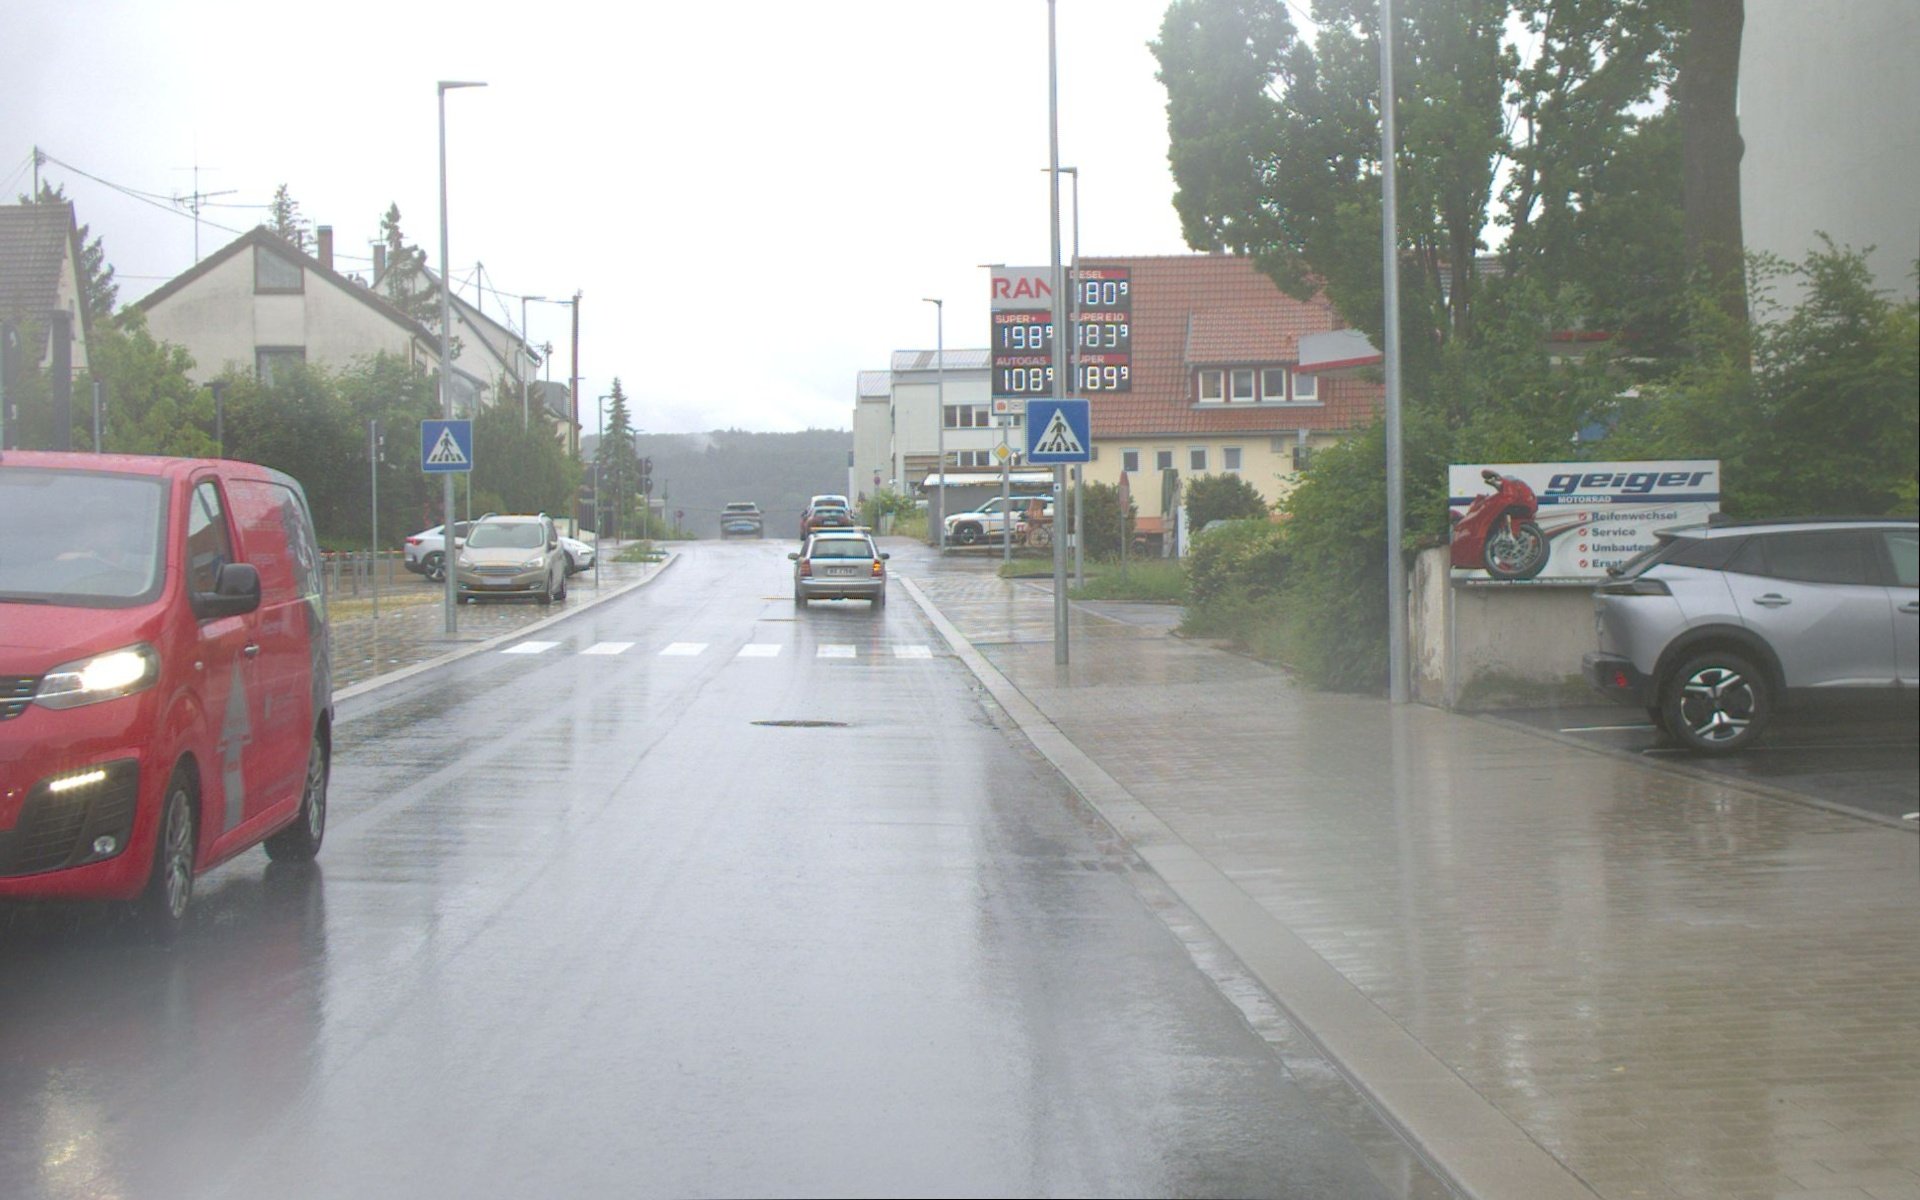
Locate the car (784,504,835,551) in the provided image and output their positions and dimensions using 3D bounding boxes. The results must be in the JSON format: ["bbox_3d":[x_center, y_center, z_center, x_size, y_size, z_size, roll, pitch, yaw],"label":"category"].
[{"bbox_3d":[-6.280,-3.016,143.666,1.993,1.700,4.000,3,-1,-2],"label":"car"}]

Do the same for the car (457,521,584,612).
[{"bbox_3d":[-8.253,-0.657,64.860,1.993,1.623,4.154,-1,2,-2],"label":"car"}]

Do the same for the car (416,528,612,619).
[{"bbox_3d":[-11.320,-0.653,87.533,4.752,2.007,2.000,3,-1,-4],"label":"car"}]

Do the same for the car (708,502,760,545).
[{"bbox_3d":[-10.204,-3.453,155.609,2.154,1.700,4.000,3,-1,-2],"label":"car"}]

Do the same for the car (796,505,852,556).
[{"bbox_3d":[-5.155,-2.616,130.500,1.993,1.700,4.000,3,-1,-2],"label":"car"}]

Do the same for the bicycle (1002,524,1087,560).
[{"bbox_3d":[2.648,-1.826,108.293,0.668,1.063,3.629,4,-1,-33],"label":"bicycle"}]

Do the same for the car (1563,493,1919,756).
[{"bbox_3d":[6.270,0.116,23.227,4.208,1.644,1.999,-2,1,8],"label":"car"}]

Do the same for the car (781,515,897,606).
[{"bbox_3d":[-2.336,-0.728,65.605,1.948,1.550,4.000,3,-1,-4],"label":"car"}]

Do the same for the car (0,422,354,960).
[{"bbox_3d":[-3.802,0.266,14.037,2.002,1.811,4.980,0,1,-3],"label":"car"}]

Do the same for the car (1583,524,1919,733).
[{"bbox_3d":[6.595,0.184,25.906,3.622,1.489,1.806,-1,1,8],"label":"car"}]

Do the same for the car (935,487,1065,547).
[{"bbox_3d":[1.319,-2.766,114.865,4.111,1.700,1.789,3,-1,-5],"label":"car"}]
